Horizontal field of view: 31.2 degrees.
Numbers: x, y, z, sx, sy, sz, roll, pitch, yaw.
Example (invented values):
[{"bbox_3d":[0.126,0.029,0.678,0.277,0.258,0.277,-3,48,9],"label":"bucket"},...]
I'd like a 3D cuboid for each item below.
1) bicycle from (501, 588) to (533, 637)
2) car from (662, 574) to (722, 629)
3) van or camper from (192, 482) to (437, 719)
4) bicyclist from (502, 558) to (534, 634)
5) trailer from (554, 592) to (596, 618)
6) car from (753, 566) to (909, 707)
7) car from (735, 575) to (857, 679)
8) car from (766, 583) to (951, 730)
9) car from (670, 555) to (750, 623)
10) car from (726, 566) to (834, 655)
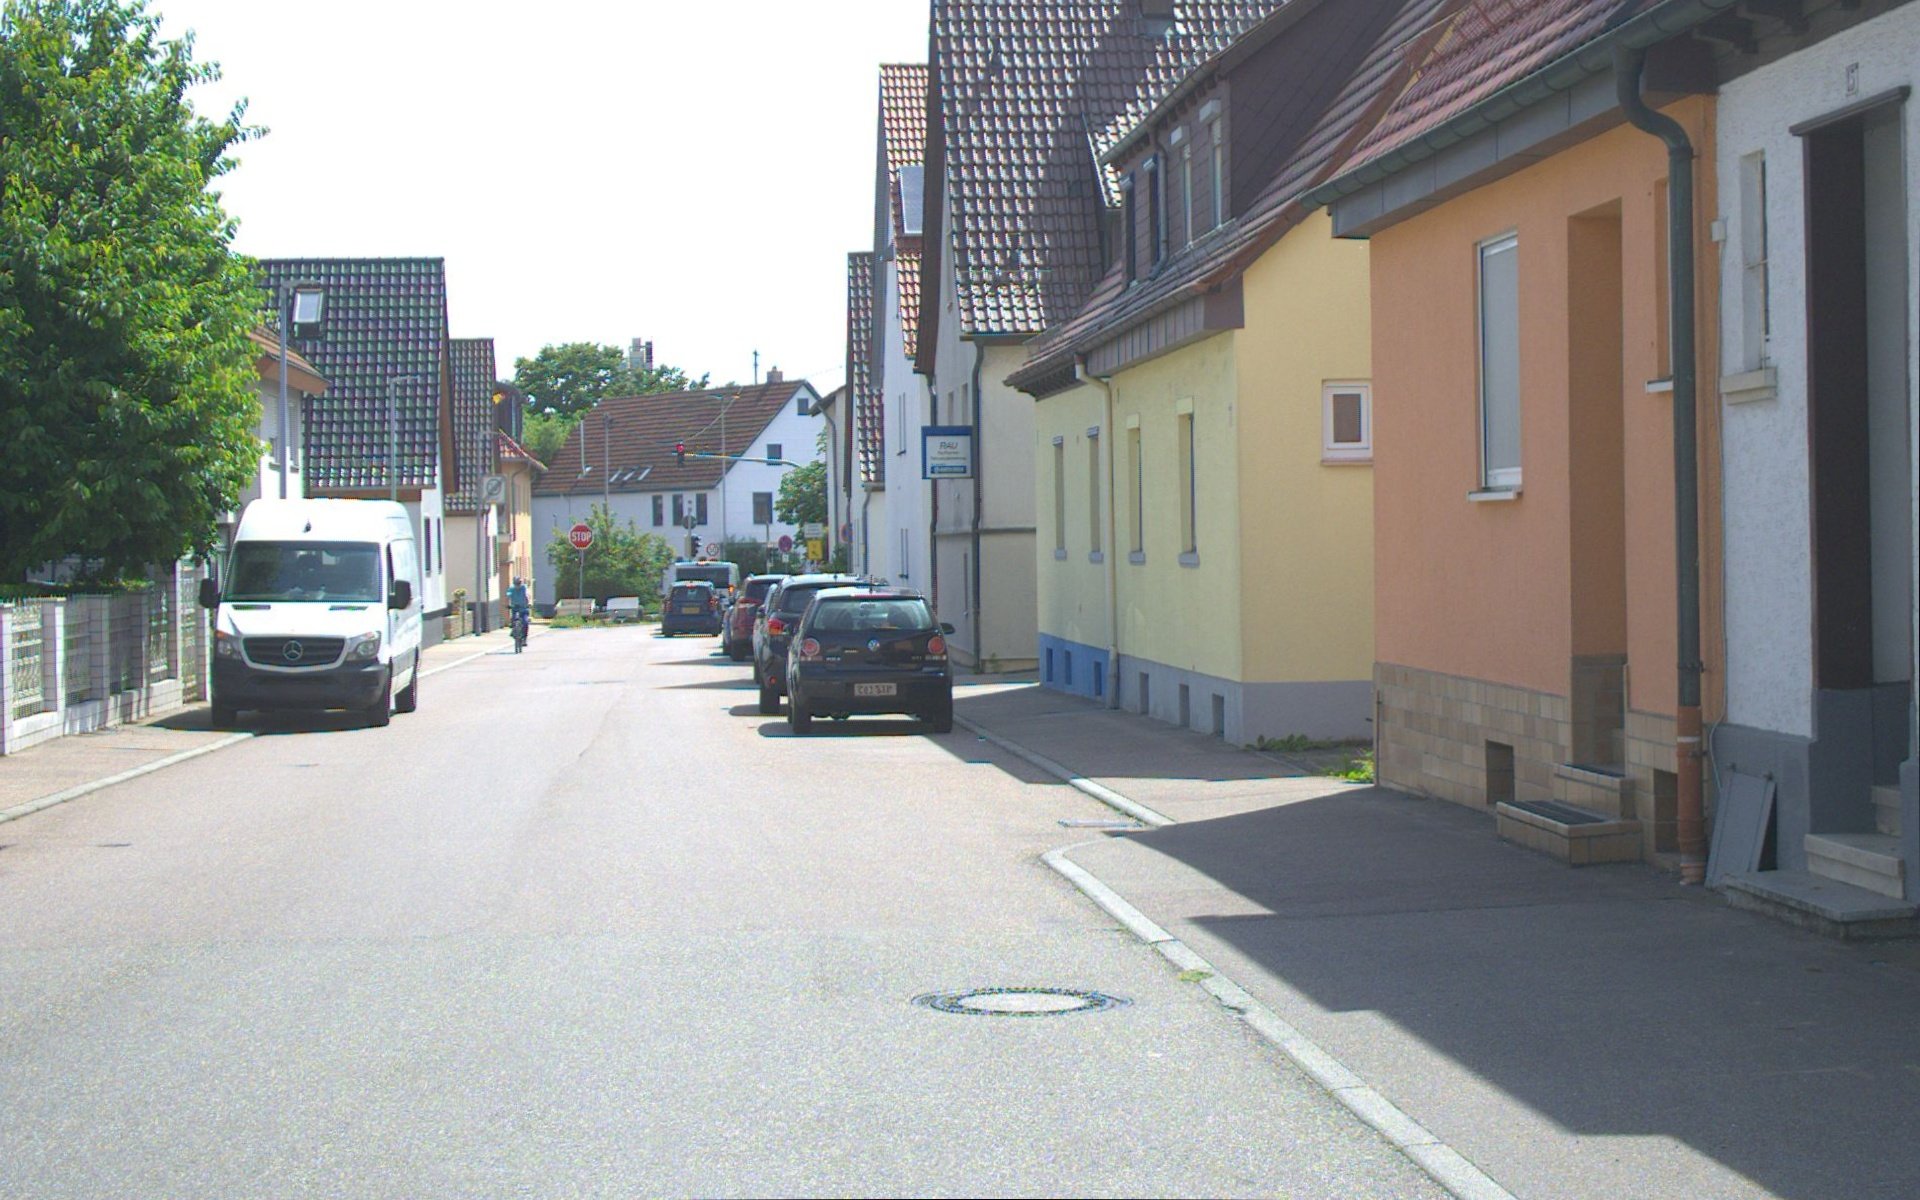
[{"bbox_3d":[-10.440,0.290,81.094,0.670,1.128,2.189,0,0,-6],"label":"bicycle"},{"bbox_3d":[-7.709,0.026,99.079,1.515,1.562,3.184,0,0,-1],"label":"car"},{"bbox_3d":[-7.523,-0.021,40.722,2.184,2.563,6.808,0,0,-5],"label":"van or camper"},{"bbox_3d":[-10.427,-0.102,81.137,0.713,1.792,0.942,0,0,-6],"label":"bicyclist"},{"bbox_3d":[-14.378,0.187,128.431,1.501,0.924,1.012,1,0,-3],"label":"trailer"},{"bbox_3d":[-1.593,0.397,41.197,1.728,1.594,4.254,0,0,-4],"label":"car"},{"bbox_3d":[-2.555,0.394,53.101,1.673,1.553,3.041,0,0,-7],"label":"car"},{"bbox_3d":[-1.102,0.546,35.660,1.610,1.426,3.755,0,0,-7],"label":"car"},{"bbox_3d":[-8.205,-0.385,113.183,2.129,2.151,4.736,-1,0,1],"label":"car"},{"bbox_3d":[-3.593,0.180,68.031,1.875,1.694,4.184,0,0,-7],"label":"car"}]
